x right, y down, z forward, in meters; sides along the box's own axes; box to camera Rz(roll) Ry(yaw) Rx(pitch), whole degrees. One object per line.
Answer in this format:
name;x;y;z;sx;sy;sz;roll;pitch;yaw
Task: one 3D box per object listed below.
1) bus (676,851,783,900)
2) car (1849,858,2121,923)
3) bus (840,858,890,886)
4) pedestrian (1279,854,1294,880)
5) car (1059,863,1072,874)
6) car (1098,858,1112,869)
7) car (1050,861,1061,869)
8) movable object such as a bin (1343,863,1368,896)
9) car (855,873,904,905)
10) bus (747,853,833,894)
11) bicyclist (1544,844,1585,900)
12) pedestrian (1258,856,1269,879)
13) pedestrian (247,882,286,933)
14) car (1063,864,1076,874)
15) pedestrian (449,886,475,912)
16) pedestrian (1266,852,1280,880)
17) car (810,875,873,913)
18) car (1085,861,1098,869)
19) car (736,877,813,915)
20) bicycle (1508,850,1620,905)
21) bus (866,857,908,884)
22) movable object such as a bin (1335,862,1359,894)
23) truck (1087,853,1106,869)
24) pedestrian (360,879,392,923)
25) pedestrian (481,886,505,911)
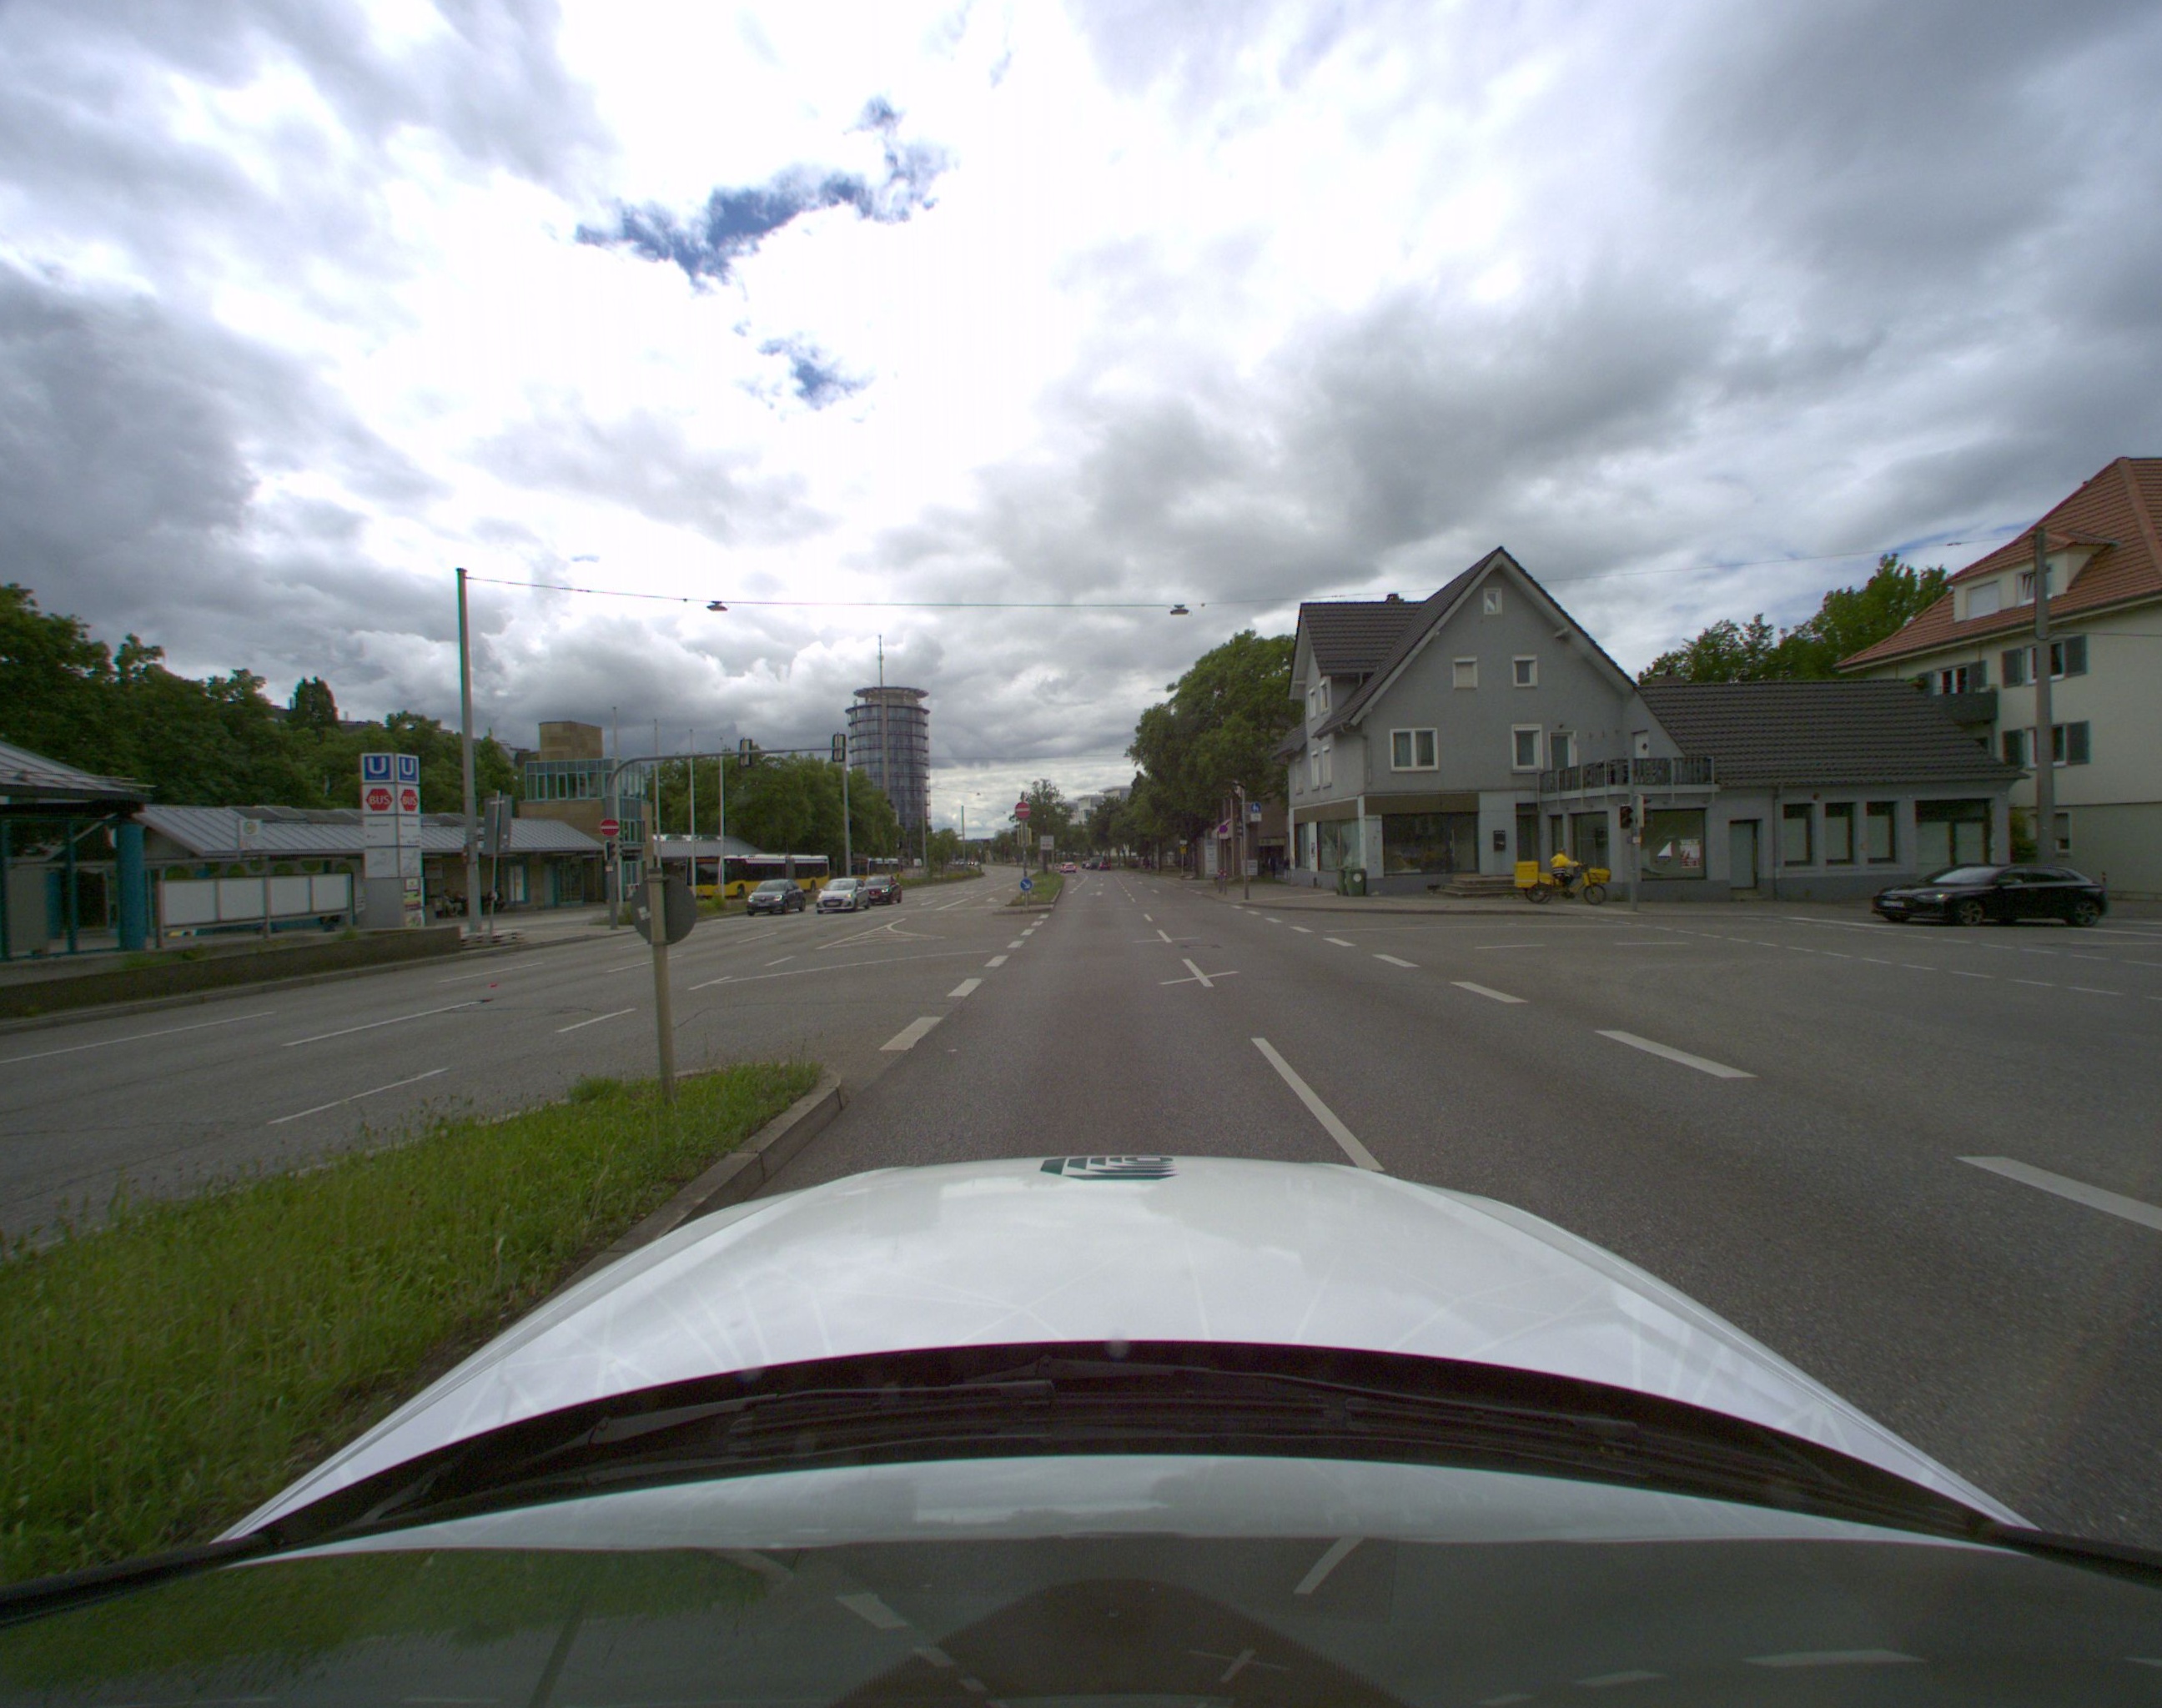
bus;-24.490;1.430;57.459;2.763;3.132;9.449;0;0;4
car;21.203;0.838;19.242;4.328;1.422;1.907;0;-1;0
bus;-26.098;2.139;99.044;3.073;3.163;10.737;-1;0;1
pedestrian;13.718;0.870;54.405;0.655;1.691;0.843;-4;-1;1
car;-2.552;2.336;130.952;1.989;1.672;3.995;-2;-1;-3
car;3.820;1.551;129.667;1.987;1.596;3.999;-2;0;0
car;-4.948;2.138;158.335;1.986;1.508;4.002;-2;-1;2
movable object such as a bin;9.669;0.889;28.735;0.624;1.104;0.710;-2;-1;0
car;-10.384;1.758;42.205;1.654;1.508;3.765;-2;-1;-2
bus;-23.629;1.508;66.804;2.795;3.132;9.315;0;0;6
bicyclist;14.199;0.517;23.947;0.926;1.598;0.968;1;1;23
pedestrian;12.558;0.956;56.044;0.559;1.550;0.544;-4;-1;1
pedestrian;-27.096;1.763;27.101;0.617;1.649;0.658;-2;-1;2
car;-1.762;2.255;125.082;1.859;1.449;3.995;-2;-1;-3
pedestrian;-28.020;2.049;36.879;0.617;1.121;0.658;-2;-1;2
pedestrian;12.861;0.792;54.506;0.655;1.826;0.843;-4;-1;1
car;-10.603;1.750;36.360;1.740;1.465;3.787;-2;0;-2
car;1.952;2.011;149.976;1.991;1.508;3.991;-2;0;-6
car;-13.779;1.873;36.859;1.808;1.508;4.002;-2;-1;2
bicycle;14.128;0.665;23.908;2.656;1.507;0.967;0;4;15
bus;-25.896;2.136;109.424;3.020;3.456;9.912;-1;-1;1
movable object such as a bin;9.639;0.867;29.541;0.606;1.104;0.710;-2;-1;0
truck;2.659;1.270;142.605;2.853;2.519;6.280;-2;-1;-3
pedestrian;-27.628;1.835;31.928;0.617;1.649;0.658;-2;-1;2
pedestrian;-27.702;2.092;38.384;0.617;1.121;0.658;-2;-1;2
